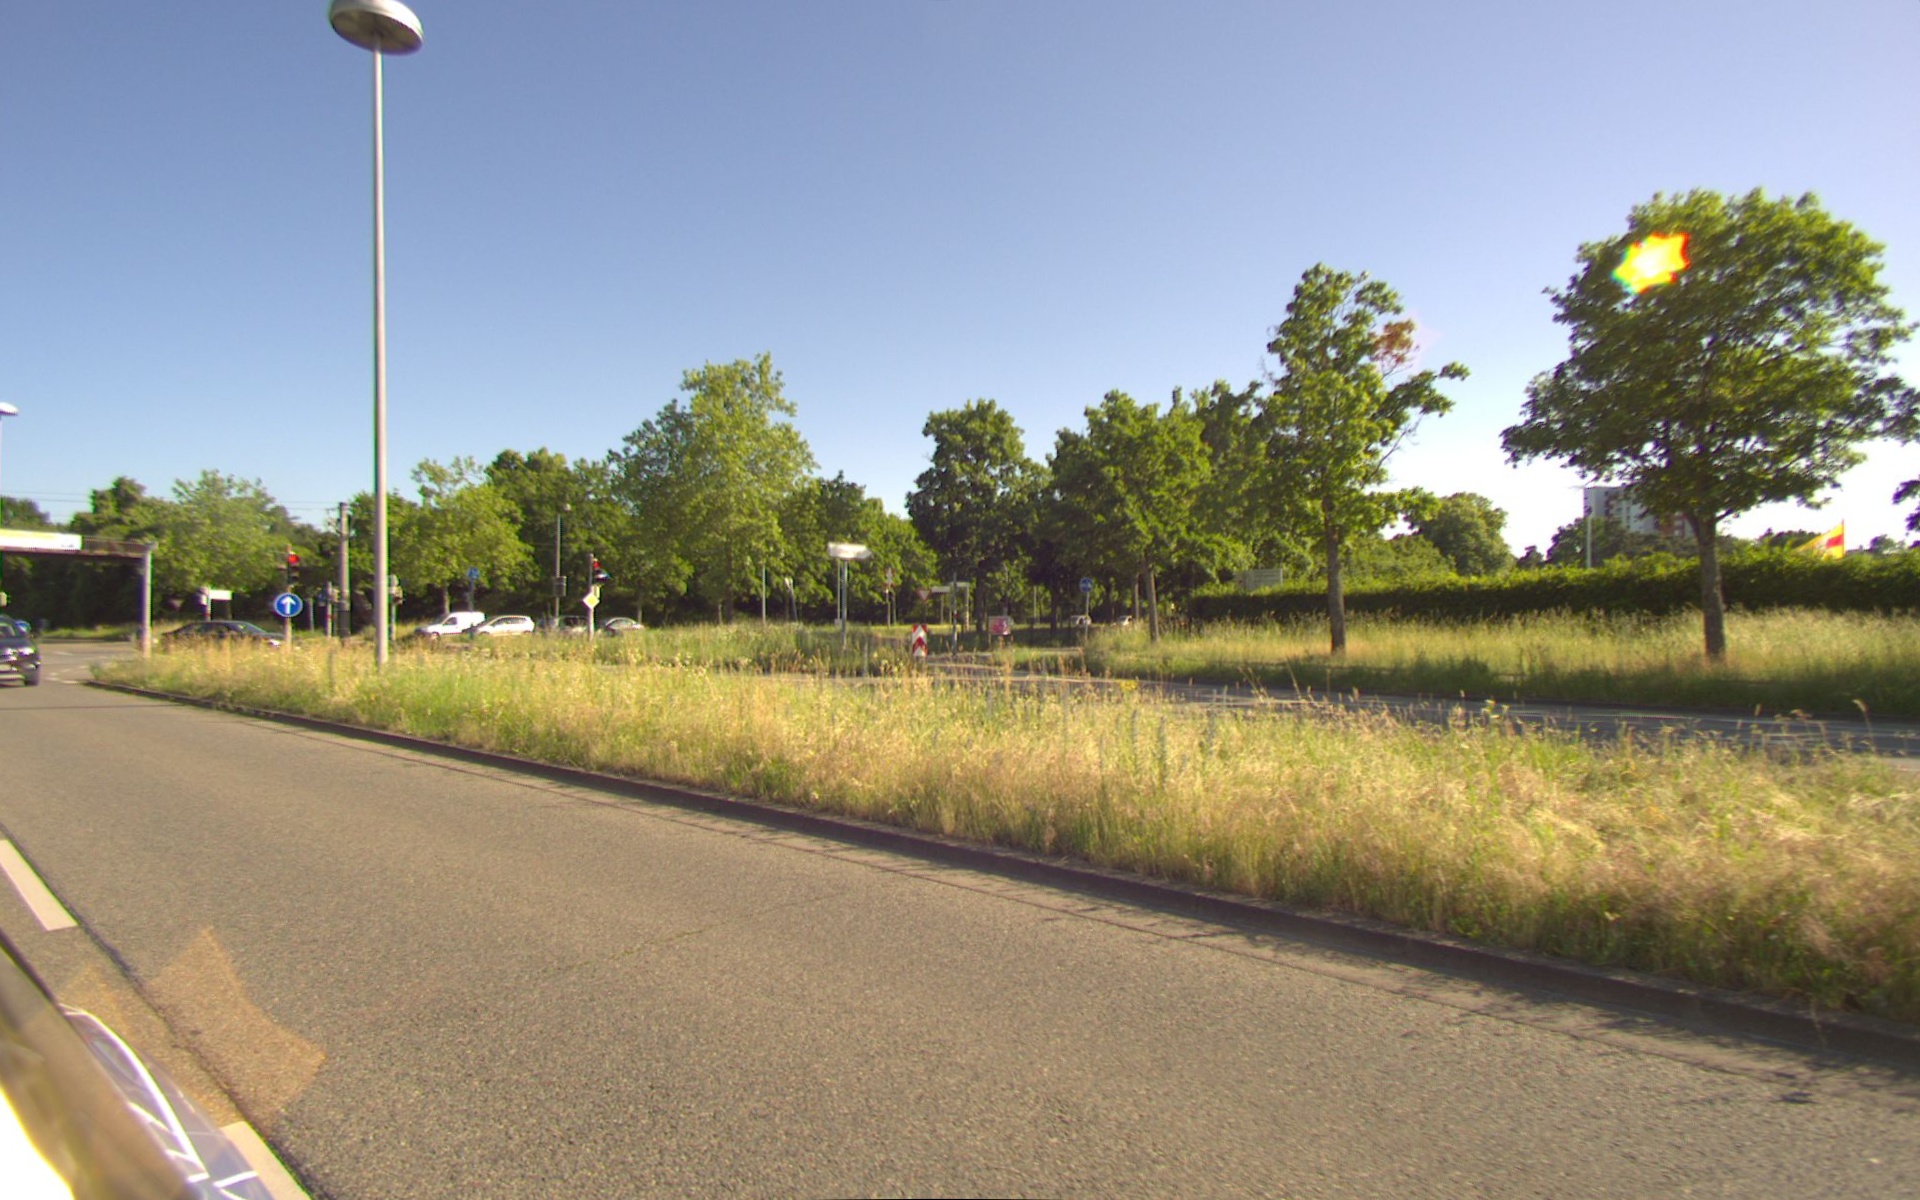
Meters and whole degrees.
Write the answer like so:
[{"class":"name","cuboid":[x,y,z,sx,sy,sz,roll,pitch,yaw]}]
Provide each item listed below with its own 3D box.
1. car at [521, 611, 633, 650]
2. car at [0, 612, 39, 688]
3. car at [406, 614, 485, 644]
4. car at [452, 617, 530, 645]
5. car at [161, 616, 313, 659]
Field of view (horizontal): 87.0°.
[{"class":"car","cuboid":[-17.141,1.345,45.452,1.848,1.582,4.323,-2,-1,44]},{"class":"car","cuboid":[-22.767,1.133,23.446,3.854,1.675,1.691,-1,0,41]},{"class":"car","cuboid":[-31.378,1.736,61.798,1.772,1.768,3.956,-1,-1,32]},{"class":"car","cuboid":[-27.983,1.813,60.530,1.847,1.572,3.882,-1,-1,32]},{"class":"car","cuboid":[-27.313,1.393,38.337,4.462,1.498,1.781,-1,-1,-3]}]
